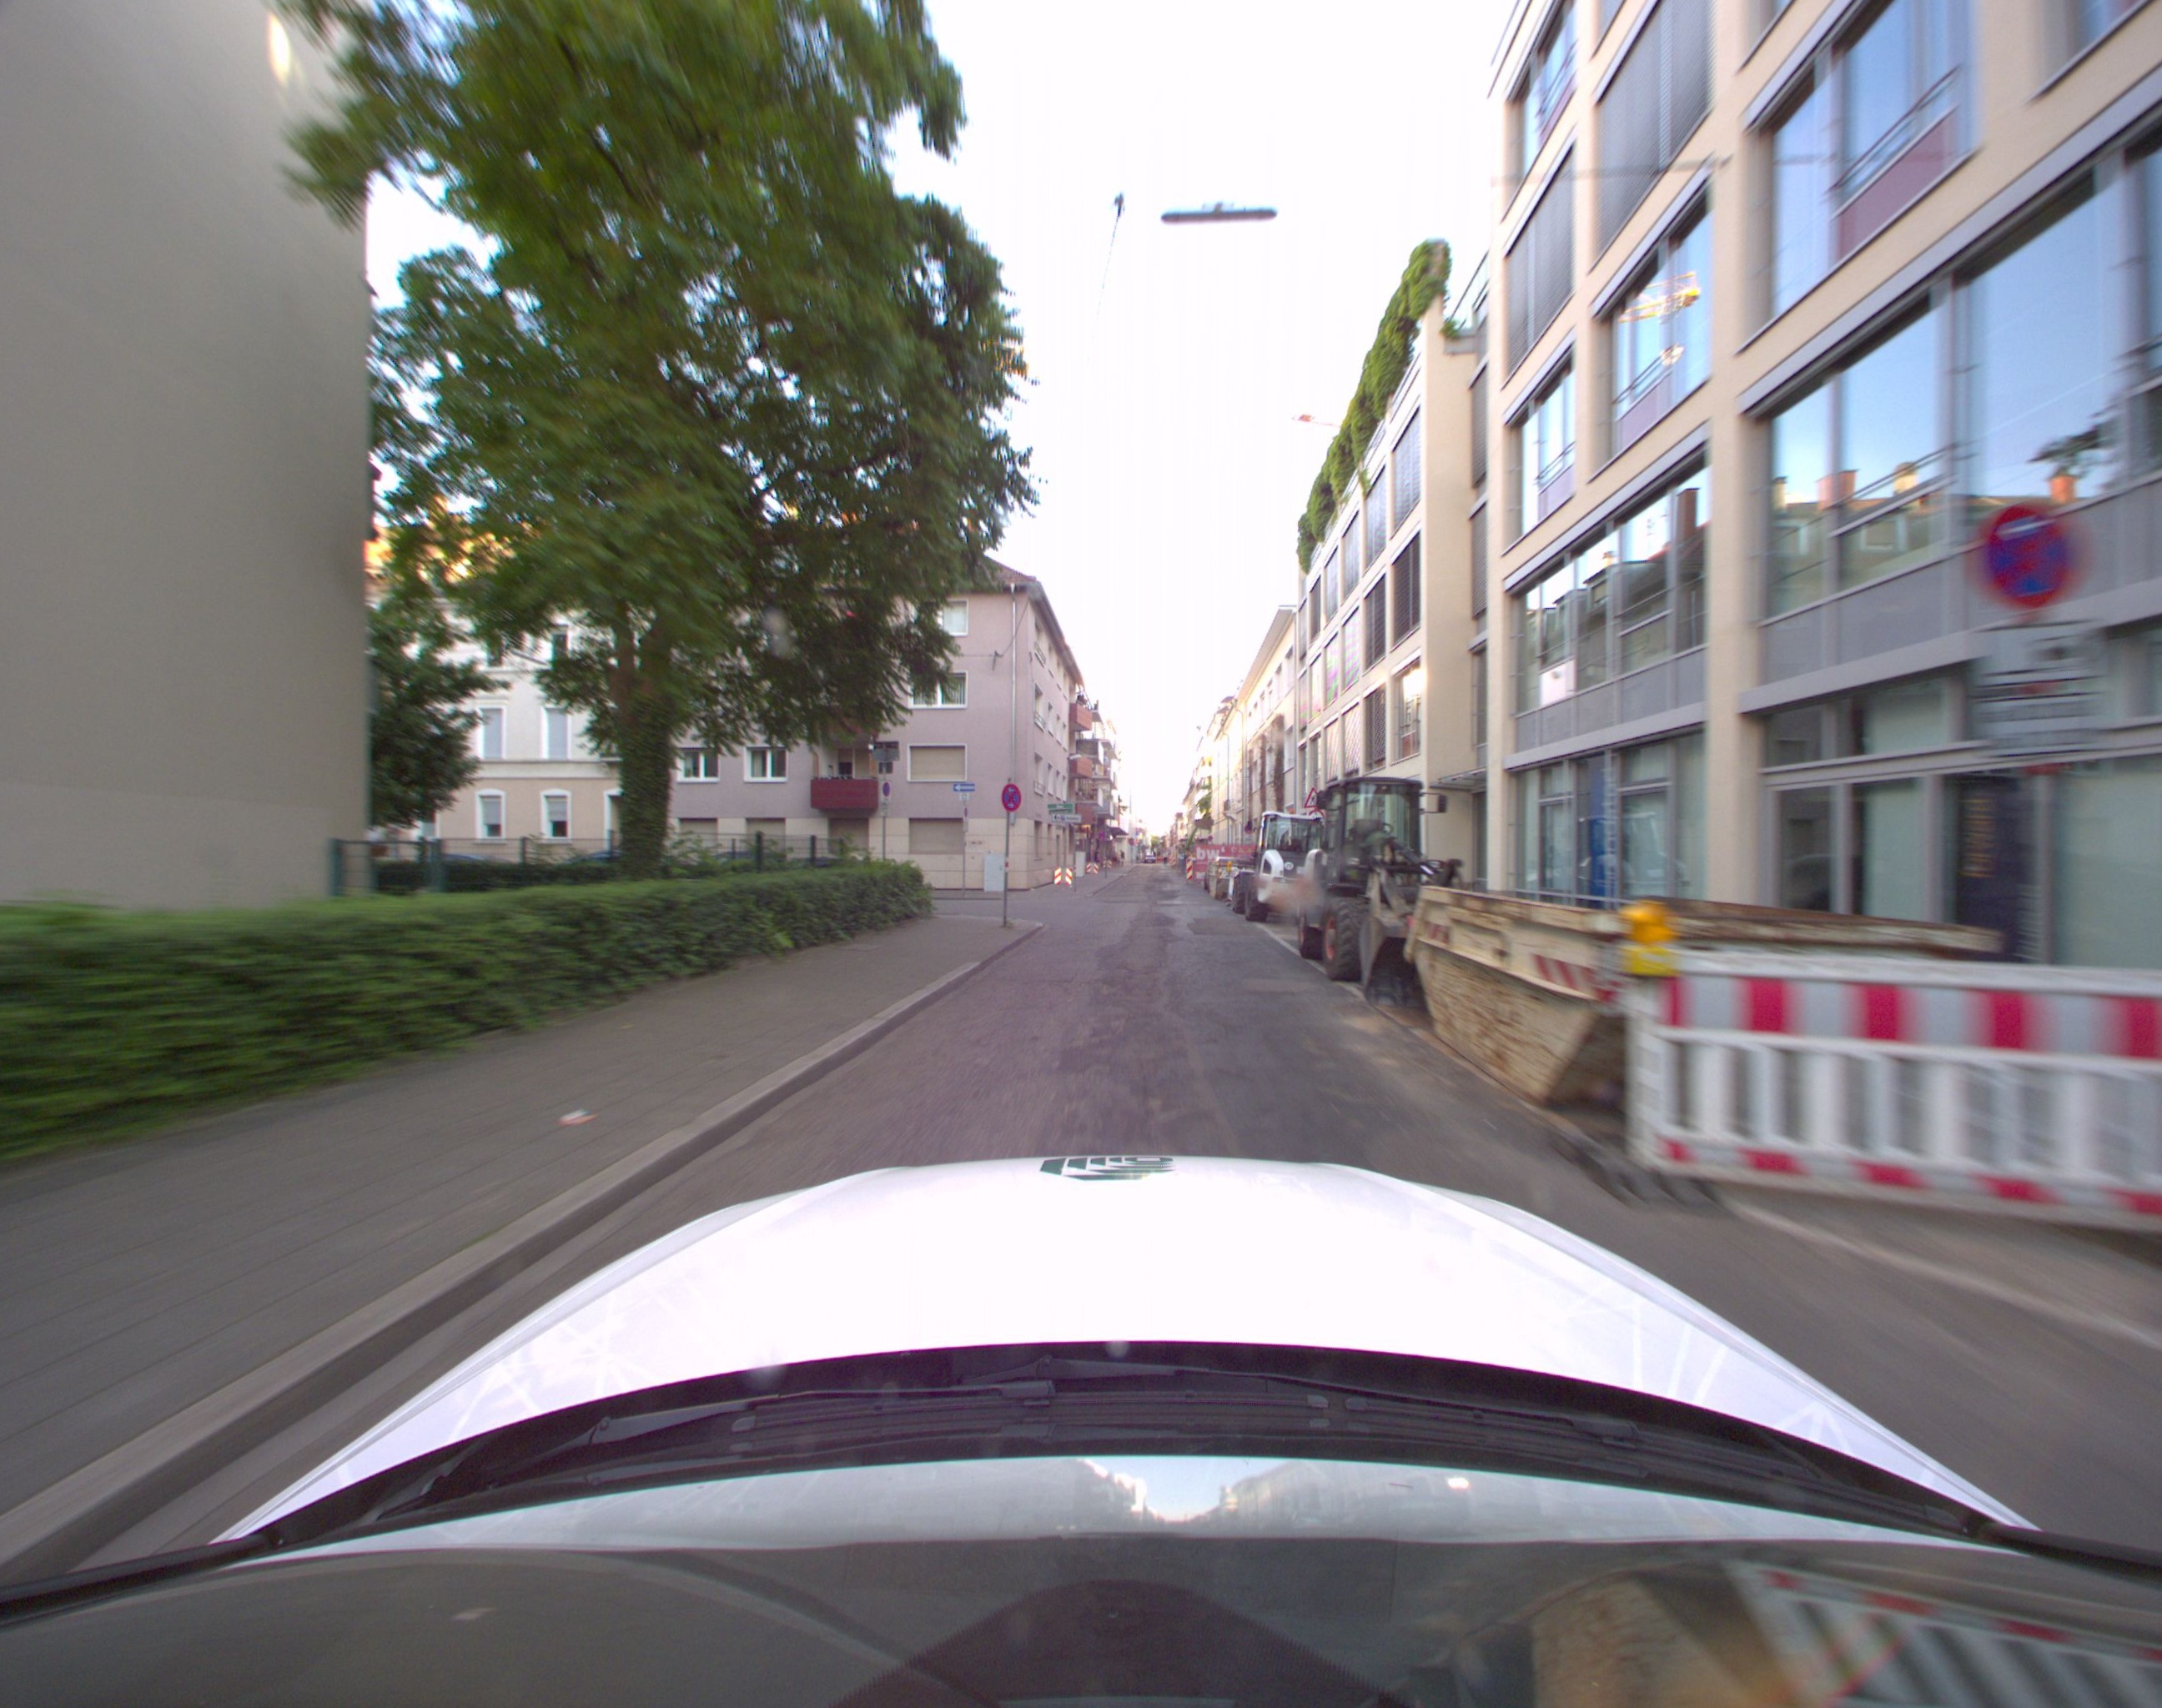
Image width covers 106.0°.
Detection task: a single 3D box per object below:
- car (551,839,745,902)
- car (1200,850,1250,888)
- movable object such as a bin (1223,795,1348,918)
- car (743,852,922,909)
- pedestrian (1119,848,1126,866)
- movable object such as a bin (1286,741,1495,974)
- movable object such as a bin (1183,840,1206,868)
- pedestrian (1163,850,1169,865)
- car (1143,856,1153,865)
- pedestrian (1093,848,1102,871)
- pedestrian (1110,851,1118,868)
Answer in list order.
[{"bbox_3d":[-11.729,0.428,22.218,4.347,1.640,1.832,0,0,6],"label":"car"},{"bbox_3d":[5.826,0.563,33.373,1.685,1.406,4.486,1,0,5],"label":"car"},{"bbox_3d":[4.831,0.048,20.123,2.156,2.596,5.551,0,0,5],"label":"movable object such as a bin"},{"bbox_3d":[-6.713,0.694,22.267,4.326,1.458,1.688,-1,0,3],"label":"car"},{"bbox_3d":[4.330,0.320,84.944,0.568,1.886,0.658,0,0,10],"label":"pedestrian"},{"bbox_3d":[4.046,0.038,11.369,1.786,2.634,4.119,0,0,7],"label":"movable object such as a bin"},{"bbox_3d":[13.009,-0.042,93.545,2.458,3.130,4.304,1,1,5],"label":"movable object such as a bin"},{"bbox_3d":[10.015,0.403,96.224,0.717,1.740,0.648,0,0,2],"label":"pedestrian"},{"bbox_3d":[10.344,0.938,125.210,1.467,1.398,3.337,0,0,5],"label":"car"},{"bbox_3d":[1.329,0.420,65.038,0.626,1.808,0.648,0,0,6],"label":"pedestrian"},{"bbox_3d":[3.076,0.504,75.988,0.645,1.565,0.629,0,0,-10],"label":"pedestrian"}]
